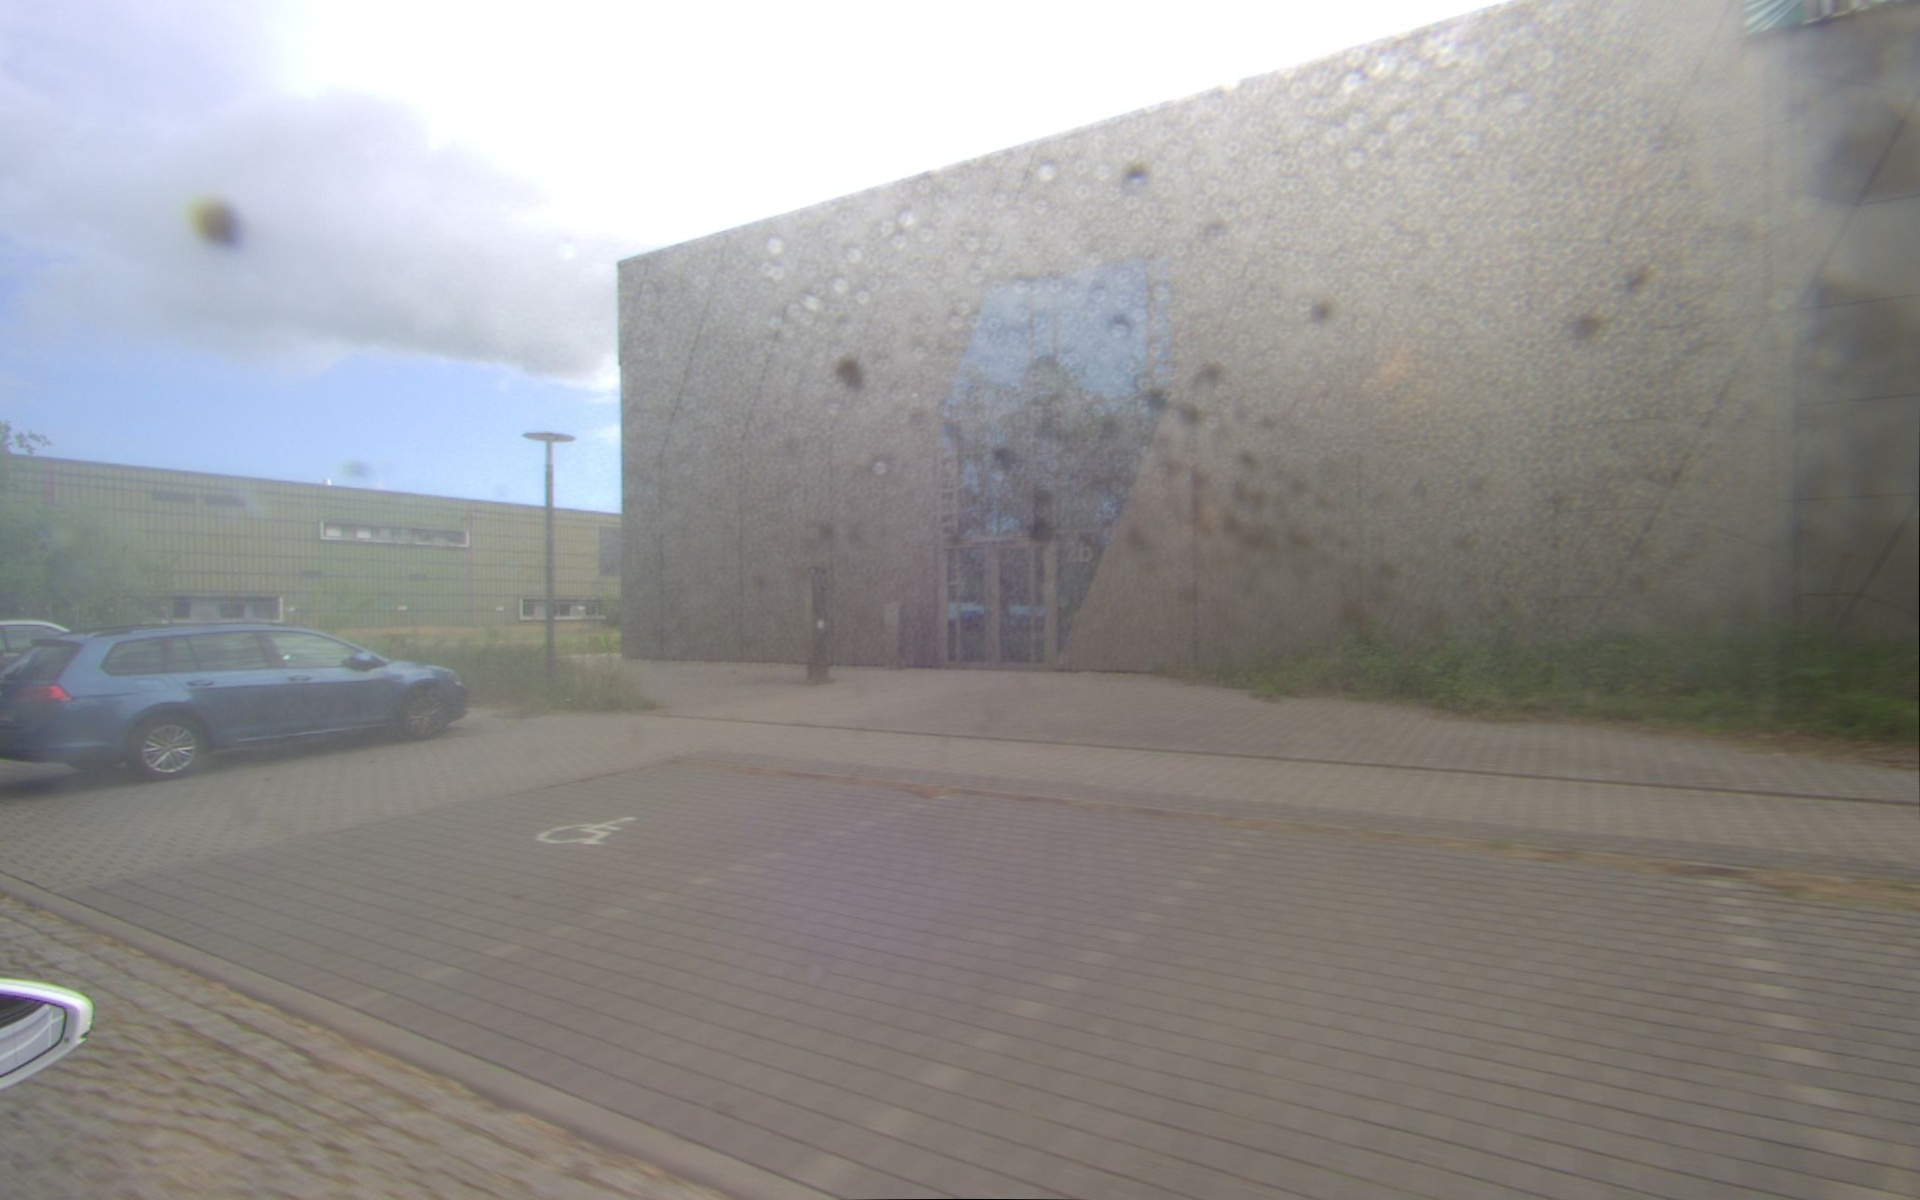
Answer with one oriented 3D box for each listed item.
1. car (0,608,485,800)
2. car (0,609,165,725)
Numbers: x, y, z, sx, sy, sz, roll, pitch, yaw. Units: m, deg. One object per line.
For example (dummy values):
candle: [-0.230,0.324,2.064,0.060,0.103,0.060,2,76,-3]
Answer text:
car: [-7.862,0.929,11.068,1.803,1.495,4.483,0,2,29]
car: [-13.926,0.970,15.040,1.630,1.577,2.702,0,2,33]
